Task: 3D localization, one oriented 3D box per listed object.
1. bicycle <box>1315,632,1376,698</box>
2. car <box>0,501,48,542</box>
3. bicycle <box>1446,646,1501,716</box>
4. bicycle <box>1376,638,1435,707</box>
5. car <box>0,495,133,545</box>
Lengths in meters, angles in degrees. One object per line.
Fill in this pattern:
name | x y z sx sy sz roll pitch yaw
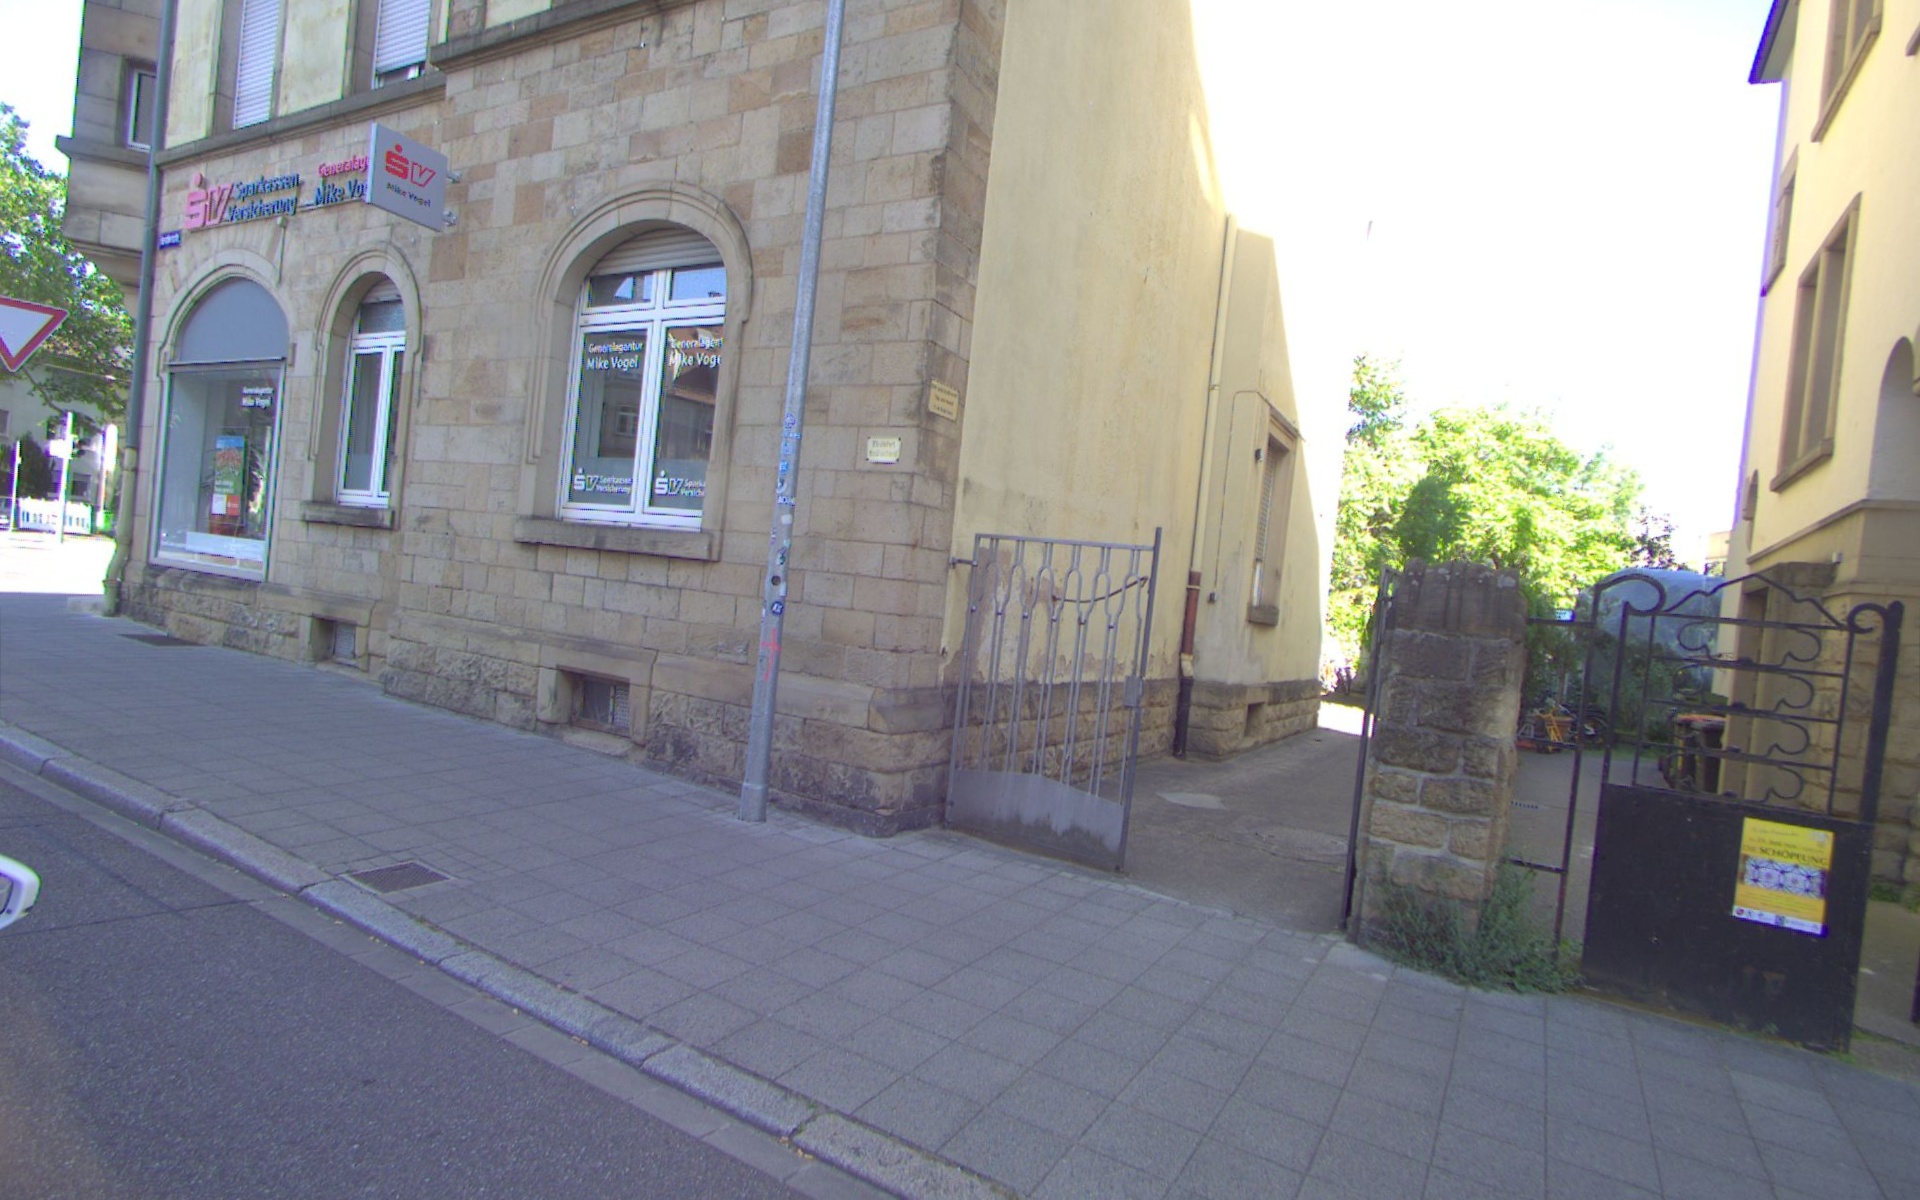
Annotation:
bicycle | 9.977 1.643 25.972 0.904 1.532 2.667 6 2 31
car | -38.456 -3.238 39.382 1.614 1.417 3.795 7 0 11
bicycle | 12.596 1.937 24.642 0.904 1.532 2.667 6 2 31
bicycle | 11.211 1.778 25.255 0.904 1.532 2.667 6 2 31
car | -35.298 -3.128 39.487 1.614 1.417 4.283 7 0 11
